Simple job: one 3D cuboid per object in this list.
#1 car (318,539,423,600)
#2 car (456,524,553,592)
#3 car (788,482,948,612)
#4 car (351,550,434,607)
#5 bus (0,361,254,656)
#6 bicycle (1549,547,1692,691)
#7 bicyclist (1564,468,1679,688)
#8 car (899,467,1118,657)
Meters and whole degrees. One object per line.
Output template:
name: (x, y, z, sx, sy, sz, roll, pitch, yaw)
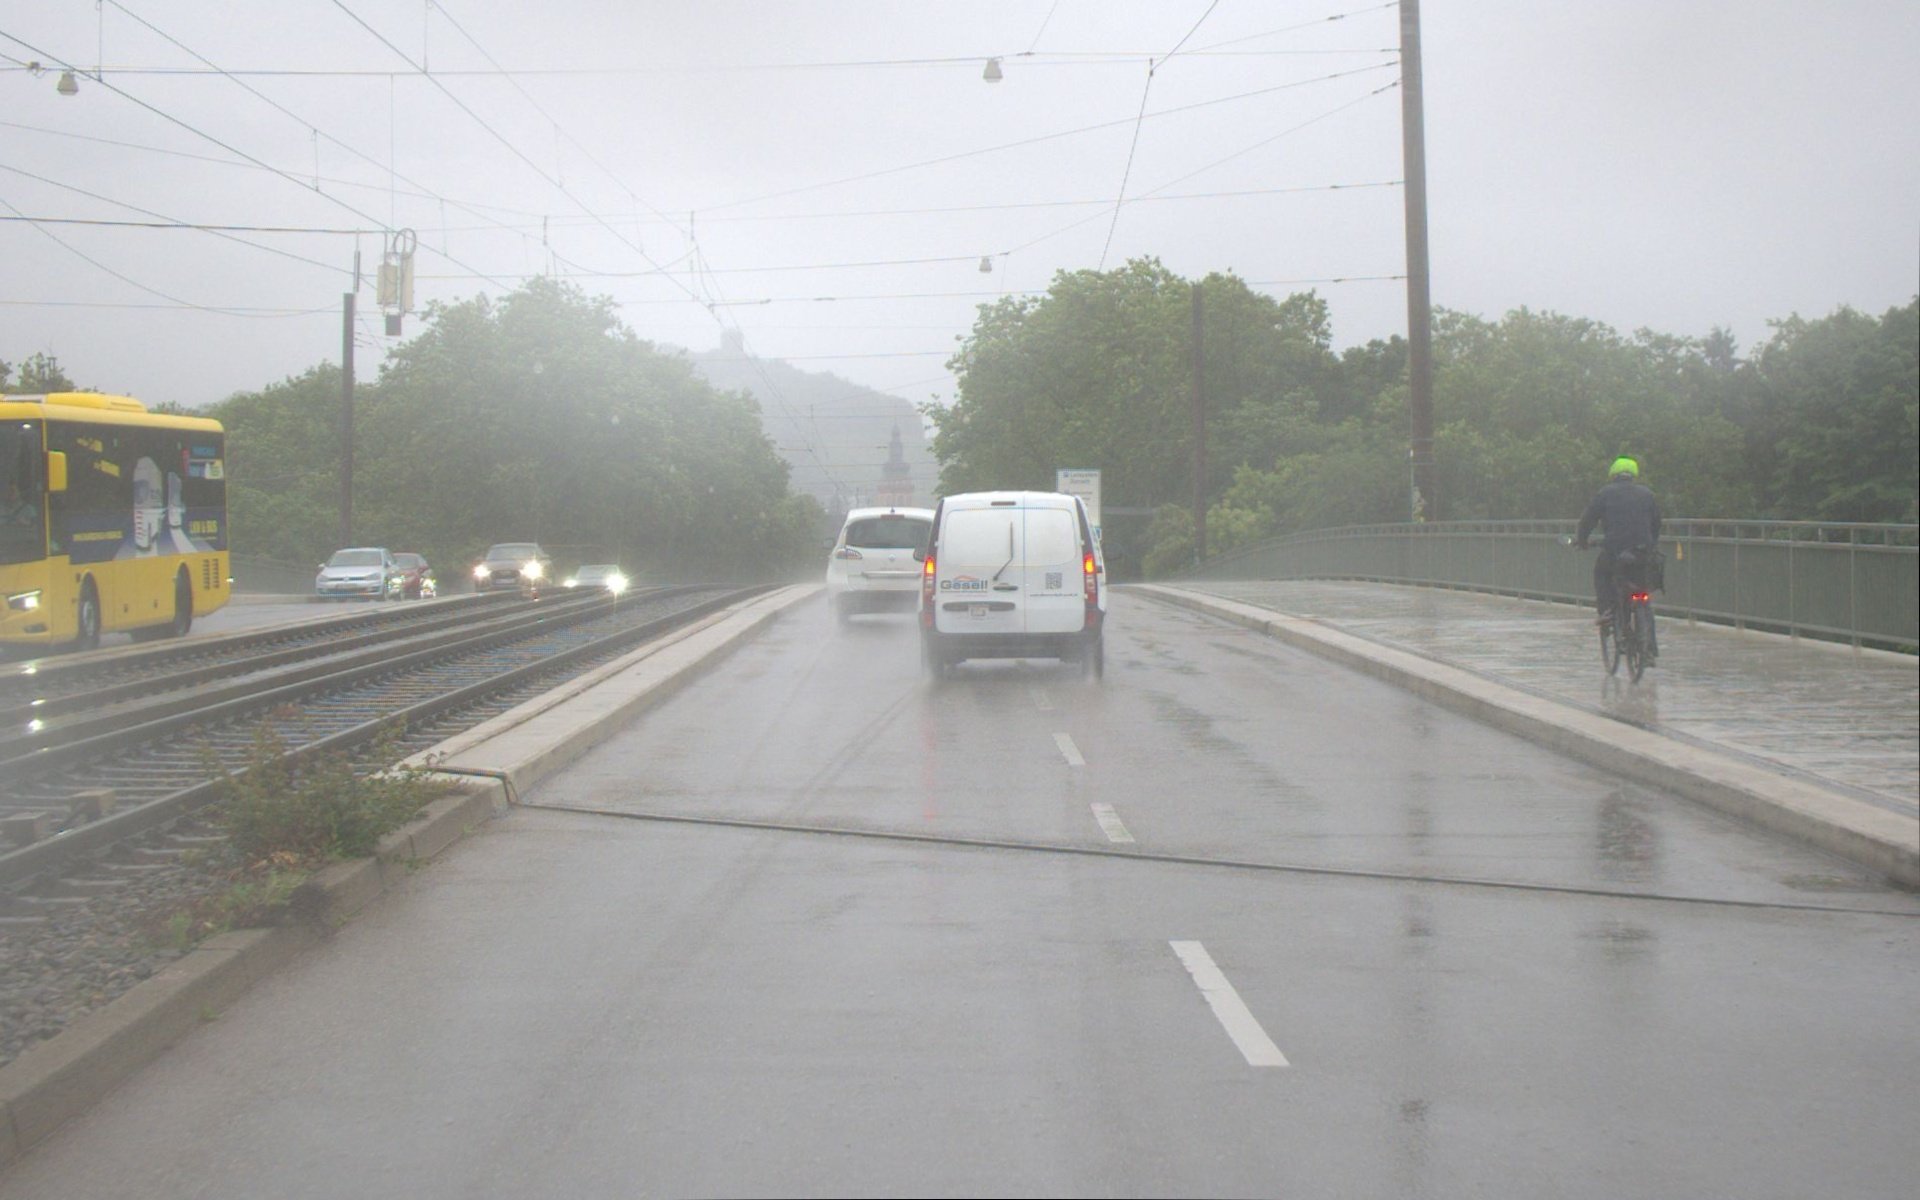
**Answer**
car: (-15.367, -0.773, 89.775, 1.993, 1.451, 4.620, -2, 0, -1)
car: (-12.481, -1.126, 94.477, 1.993, 1.711, 4.941, -2, 0, -1)
car: (-1.254, -0.714, 48.593, 1.993, 1.711, 4.000, 1, 0, 2)
car: (-15.671, -0.580, 95.046, 1.620, 1.451, 4.322, -2, 0, -1)
bus: (-11.653, -1.207, 44.568, 2.708, 3.329, 10.994, -2, 2, -1)
bicycle: (5.411, 0.137, 28.279, 0.723, 1.125, 2.168, 1, 1, 0)
bicyclist: (5.408, -0.175, 28.160, 0.725, 1.758, 0.949, 1, 0, 0)
car: (0.510, -0.339, 33.826, 1.993, 1.720, 4.000, 1, 0, 2)
